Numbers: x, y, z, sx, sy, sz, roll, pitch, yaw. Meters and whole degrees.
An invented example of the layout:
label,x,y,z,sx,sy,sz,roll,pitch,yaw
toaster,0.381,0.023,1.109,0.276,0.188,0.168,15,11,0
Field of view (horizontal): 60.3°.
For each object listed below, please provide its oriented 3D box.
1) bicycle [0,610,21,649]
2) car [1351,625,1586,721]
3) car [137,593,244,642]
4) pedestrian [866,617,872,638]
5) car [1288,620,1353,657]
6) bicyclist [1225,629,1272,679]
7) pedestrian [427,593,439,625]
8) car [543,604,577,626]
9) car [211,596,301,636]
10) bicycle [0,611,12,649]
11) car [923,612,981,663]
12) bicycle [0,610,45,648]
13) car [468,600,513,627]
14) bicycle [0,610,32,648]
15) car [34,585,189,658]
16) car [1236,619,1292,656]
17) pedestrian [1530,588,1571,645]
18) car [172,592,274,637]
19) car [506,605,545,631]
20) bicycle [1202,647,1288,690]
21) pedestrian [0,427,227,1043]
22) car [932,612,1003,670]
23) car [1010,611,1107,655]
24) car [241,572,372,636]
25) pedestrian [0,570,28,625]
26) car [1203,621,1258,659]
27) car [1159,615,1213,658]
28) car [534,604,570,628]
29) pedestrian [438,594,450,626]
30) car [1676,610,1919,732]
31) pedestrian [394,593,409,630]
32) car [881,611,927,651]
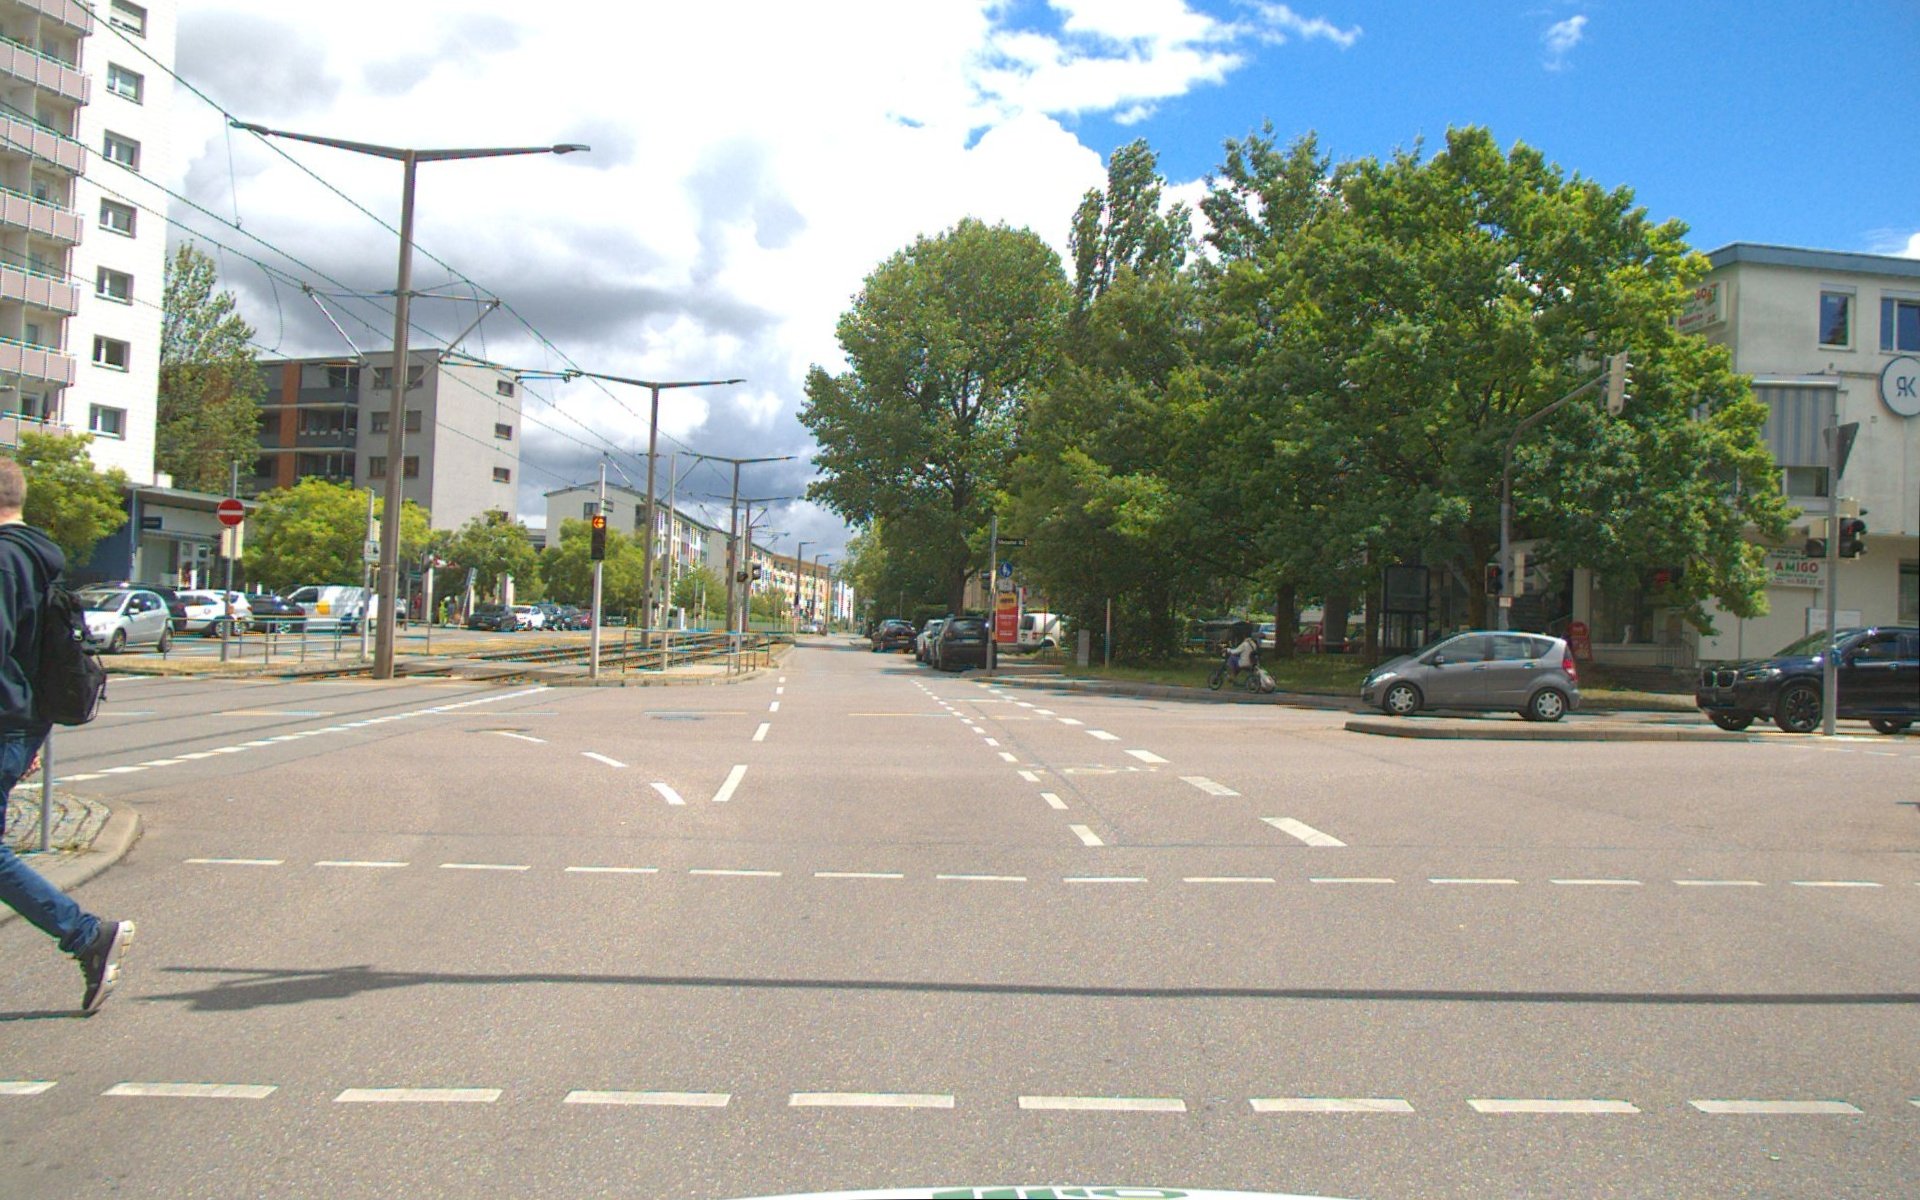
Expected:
label,x,y,z,sx,sy,sz,roll,pitch,yaw
bicycle,-24.819,0.731,41.694,1.910,0.951,0.494,1,-1,-7
car,9.206,1.292,30.232,3.824,1.583,2.002,1,0,8
car,-26.764,0.594,57.488,4.143,1.597,1.949,1,0,43
pedestrian,-7.497,2.257,136.046,0.469,1.665,0.454,1,0,-2
car,16.804,1.771,77.254,1.698,1.623,3.993,1,0,-8
bicyclist,6.261,1.172,35.868,0.786,1.040,0.627,2,0,-37
pedestrian,-28.697,0.489,90.042,0.537,1.746,0.404,1,0,-11
car,-26.388,0.971,109.231,1.728,1.419,3.993,1,0,-7
car,-27.320,0.625,64.136,4.147,1.445,1.777,1,0,45
bicycle,-24.773,0.729,41.219,1.910,0.951,0.494,1,-1,-7
car,-0.303,1.331,59.229,1.953,1.713,3.999,1,-1,-1
bicycle,-24.830,0.738,42.843,1.910,0.951,0.494,1,-1,-7
car,-25.710,0.705,90.668,1.728,1.419,3.993,1,0,-7
bicycle,-24.832,0.734,42.240,1.910,0.951,0.494,1,-1,-7
car,-21.263,0.521,41.626,1.898,1.723,3.872,1,0,-1
car,14.065,1.723,76.703,1.598,1.623,3.997,1,0,-4
pedestrian,17.541,0.489,49.113,0.755,1.672,0.904,2,0,-14
car,-27.098,0.529,60.748,4.143,1.564,1.949,1,0,43
car,-25.732,1.053,98.084,1.728,1.419,3.993,1,0,-7
bicycle,6.175,1.481,35.912,0.786,0.833,1.784,2,0,-37
pedestrian,-3.225,0.430,5.750,0.947,1.976,0.896,1,0,-5
car,0.201,1.264,51.791,2.108,1.713,3.999,1,-1,-1
car,4.388,1.471,73.374,3.933,1.855,1.766,1,0,-24
car,-27.329,0.132,69.030,2.811,2.522,6.614,1,0,-44
pedestrian,-34.472,-0.086,60.045,0.851,1.950,1.209,1,0,-18
car,12.312,1.789,75.508,1.598,1.600,4.029,1,0,-4
car,10.172,1.616,74.727,1.598,1.842,4.029,1,0,-4
car,-25.828,1.001,104.675,1.728,1.419,3.993,1,0,-7
pedestrian,-28.316,0.530,90.749,0.537,1.746,0.667,1,0,-11
car,13.759,1.084,25.655,4.471,1.747,1.997,1,0,-6
pedestrian,-27.193,0.557,80.555,0.536,1.746,0.405,1,0,-1
car,-2.508,1.363,74.403,1.953,1.713,3.999,1,0,-1
